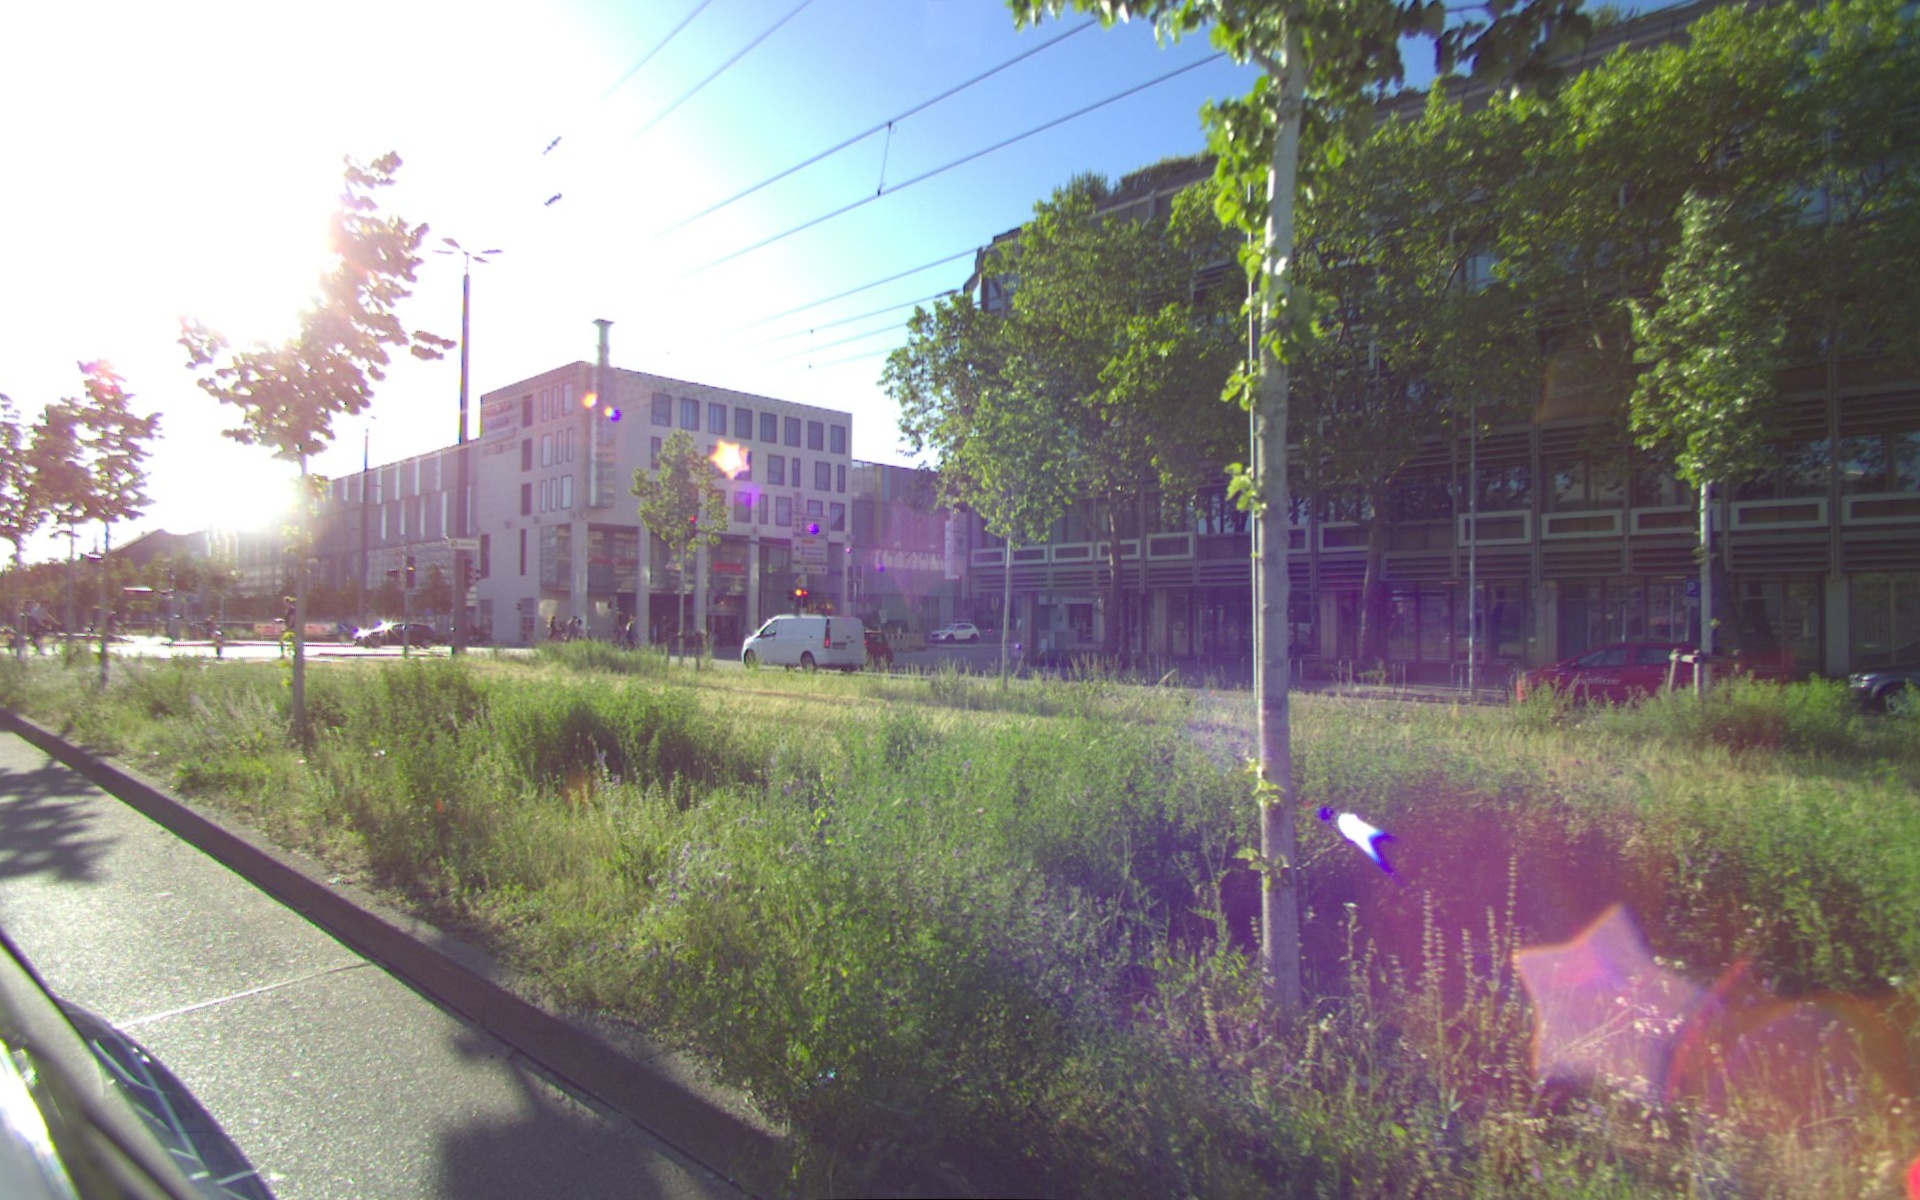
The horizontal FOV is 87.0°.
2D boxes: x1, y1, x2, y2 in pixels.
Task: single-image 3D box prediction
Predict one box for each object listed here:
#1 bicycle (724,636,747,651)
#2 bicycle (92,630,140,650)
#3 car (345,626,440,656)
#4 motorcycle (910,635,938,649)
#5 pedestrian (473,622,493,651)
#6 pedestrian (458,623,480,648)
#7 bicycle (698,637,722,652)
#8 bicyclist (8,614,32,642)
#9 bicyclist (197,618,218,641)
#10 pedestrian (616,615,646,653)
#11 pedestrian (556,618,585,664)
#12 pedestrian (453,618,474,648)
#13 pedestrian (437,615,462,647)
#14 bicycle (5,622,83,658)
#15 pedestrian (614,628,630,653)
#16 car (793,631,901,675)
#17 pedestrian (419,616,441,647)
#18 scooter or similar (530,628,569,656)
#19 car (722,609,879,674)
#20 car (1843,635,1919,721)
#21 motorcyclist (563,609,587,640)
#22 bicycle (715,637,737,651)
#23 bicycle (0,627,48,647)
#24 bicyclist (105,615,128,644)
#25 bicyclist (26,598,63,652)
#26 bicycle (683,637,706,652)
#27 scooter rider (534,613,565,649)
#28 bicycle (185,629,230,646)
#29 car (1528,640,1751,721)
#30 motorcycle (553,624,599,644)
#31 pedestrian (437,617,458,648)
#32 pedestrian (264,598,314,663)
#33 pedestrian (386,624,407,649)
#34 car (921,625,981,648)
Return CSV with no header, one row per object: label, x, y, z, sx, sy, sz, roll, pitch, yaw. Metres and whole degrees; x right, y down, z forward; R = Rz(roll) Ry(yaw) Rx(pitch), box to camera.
bicycle,-17.573,3.414,79.237,0.673,1.119,2.479,2,-2,-41
bicycle,-45.695,2.154,54.810,1.948,1.004,0.650,1,-2,-43
car,-31.672,2.275,56.547,4.231,1.593,1.945,2,-2,-45
motorcycle,-3.336,3.847,92.707,2.675,1.226,0.904,1,-1,41
pedestrian,-34.026,2.582,72.201,0.906,2.029,1.021,0,-2,7
pedestrian,-33.252,2.407,68.499,0.995,1.663,0.947,0,-2,4
bicycle,-19.225,3.384,77.872,0.673,1.119,2.479,2,-2,-42
bicyclist,-48.663,1.431,52.386,0.830,1.412,0.807,0,-1,-40
bicyclist,-45.442,1.795,61.109,0.805,1.367,0.830,-1,-1,41
pedestrian,-13.888,1.446,42.726,0.887,1.561,0.922,-1,-1,6
pedestrian,-15.318,1.593,39.791,0.857,1.757,0.729,-1,-1,39
pedestrian,-34.758,2.315,70.853,0.906,2.029,1.021,0,-2,9
pedestrian,-34.551,2.120,68.503,1.050,2.145,1.096,0,-2,6
bicycle,-29.165,1.254,32.227,0.709,1.102,1.775,-1,-2,43
pedestrian,-23.811,2.862,71.300,0.753,1.753,0.746,-1,-2,45
car,-4.214,1.944,37.486,3.879,1.497,1.820,-2,-5,42
pedestrian,-36.329,2.160,69.333,0.890,2.140,0.942,0,-2,16
scooter or similar,-18.072,1.851,44.555,0.644,1.184,1.462,0,-1,44
car,-5.553,1.420,34.698,5.710,2.029,2.234,-1,-4,44
car,21.162,1.609,20.483,4.863,1.693,1.974,-1,-1,39
motorcyclist,-18.720,1.172,49.198,0.867,1.495,0.759,1,-1,-35
bicycle,-18.217,3.415,78.762,0.673,1.119,2.480,2,-2,-40
bicycle,-48.632,1.914,52.405,2.044,0.986,0.807,0,-1,-40
bicyclist,-45.697,1.584,54.833,0.927,1.556,0.650,1,-2,-42
bicyclist,-29.158,0.794,32.232,0.701,1.682,0.775,-1,-2,43
bicycle,-20.173,3.367,76.945,0.648,1.121,2.413,2,-2,-42
scooter rider,-18.070,1.351,44.566,0.644,1.556,1.101,0,-1,44
bicycle,-45.435,2.258,61.102,0.805,0.934,2.049,-1,-1,41
car,13.833,1.602,20.699,3.575,1.464,1.692,-1,-5,43
motorcycle,-18.673,1.652,49.222,1.927,0.976,0.759,1,-1,-35
pedestrian,-36.129,2.294,71.329,0.892,2.140,0.940,0,-2,20
pedestrian,-20.360,0.922,30.716,1.015,1.925,1.035,-1,-2,44
pedestrian,-36.456,2.335,65.444,0.930,1.583,0.843,1,-2,-10
car,-0.696,2.906,80.431,4.479,1.725,2.129,2,-1,-39
